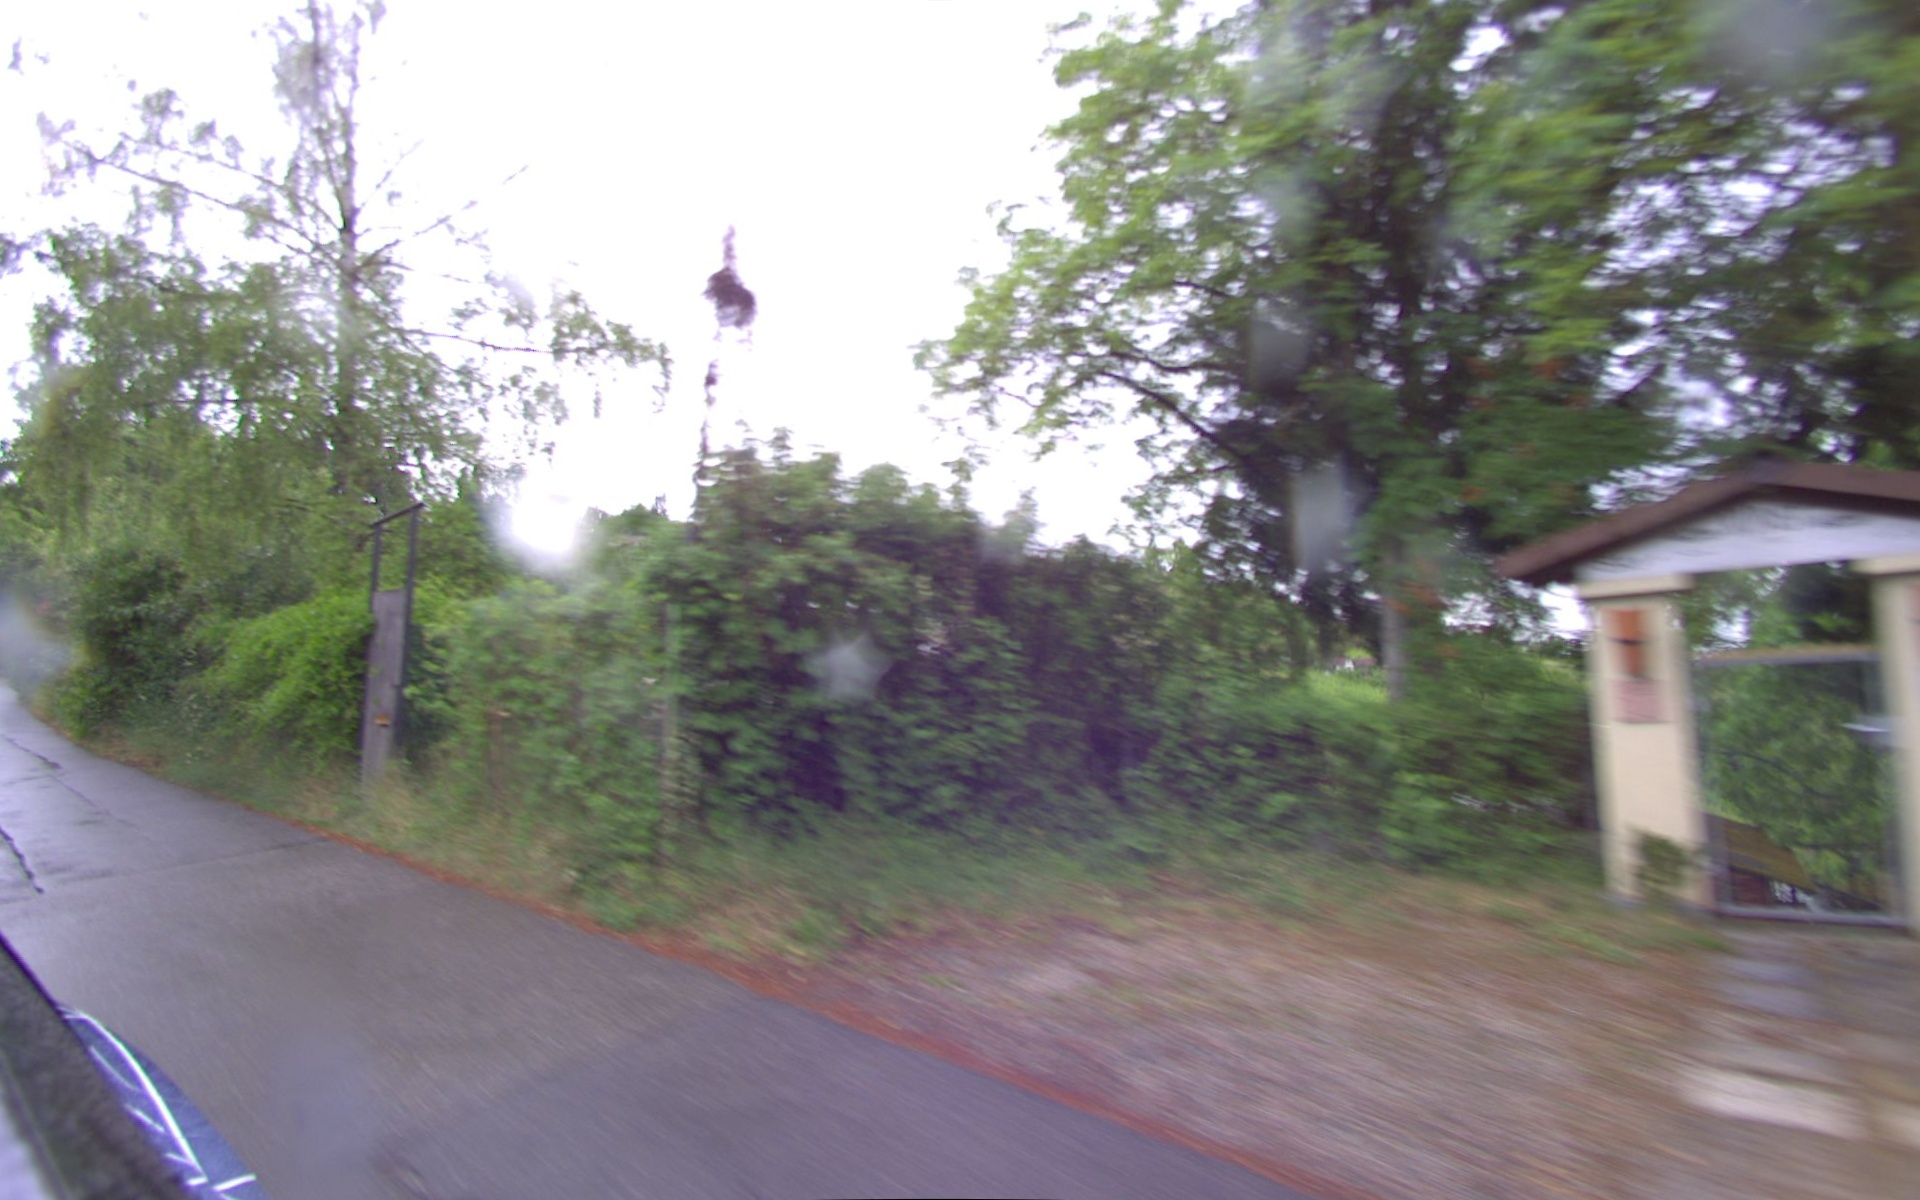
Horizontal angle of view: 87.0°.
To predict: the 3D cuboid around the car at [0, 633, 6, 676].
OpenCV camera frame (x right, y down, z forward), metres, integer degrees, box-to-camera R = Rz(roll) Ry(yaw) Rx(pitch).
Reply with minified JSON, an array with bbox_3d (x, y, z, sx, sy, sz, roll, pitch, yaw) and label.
[{"bbox_3d":[-41.040,2.207,42.069,4.068,1.740,1.667,-2,-5,43],"label":"car"}]
